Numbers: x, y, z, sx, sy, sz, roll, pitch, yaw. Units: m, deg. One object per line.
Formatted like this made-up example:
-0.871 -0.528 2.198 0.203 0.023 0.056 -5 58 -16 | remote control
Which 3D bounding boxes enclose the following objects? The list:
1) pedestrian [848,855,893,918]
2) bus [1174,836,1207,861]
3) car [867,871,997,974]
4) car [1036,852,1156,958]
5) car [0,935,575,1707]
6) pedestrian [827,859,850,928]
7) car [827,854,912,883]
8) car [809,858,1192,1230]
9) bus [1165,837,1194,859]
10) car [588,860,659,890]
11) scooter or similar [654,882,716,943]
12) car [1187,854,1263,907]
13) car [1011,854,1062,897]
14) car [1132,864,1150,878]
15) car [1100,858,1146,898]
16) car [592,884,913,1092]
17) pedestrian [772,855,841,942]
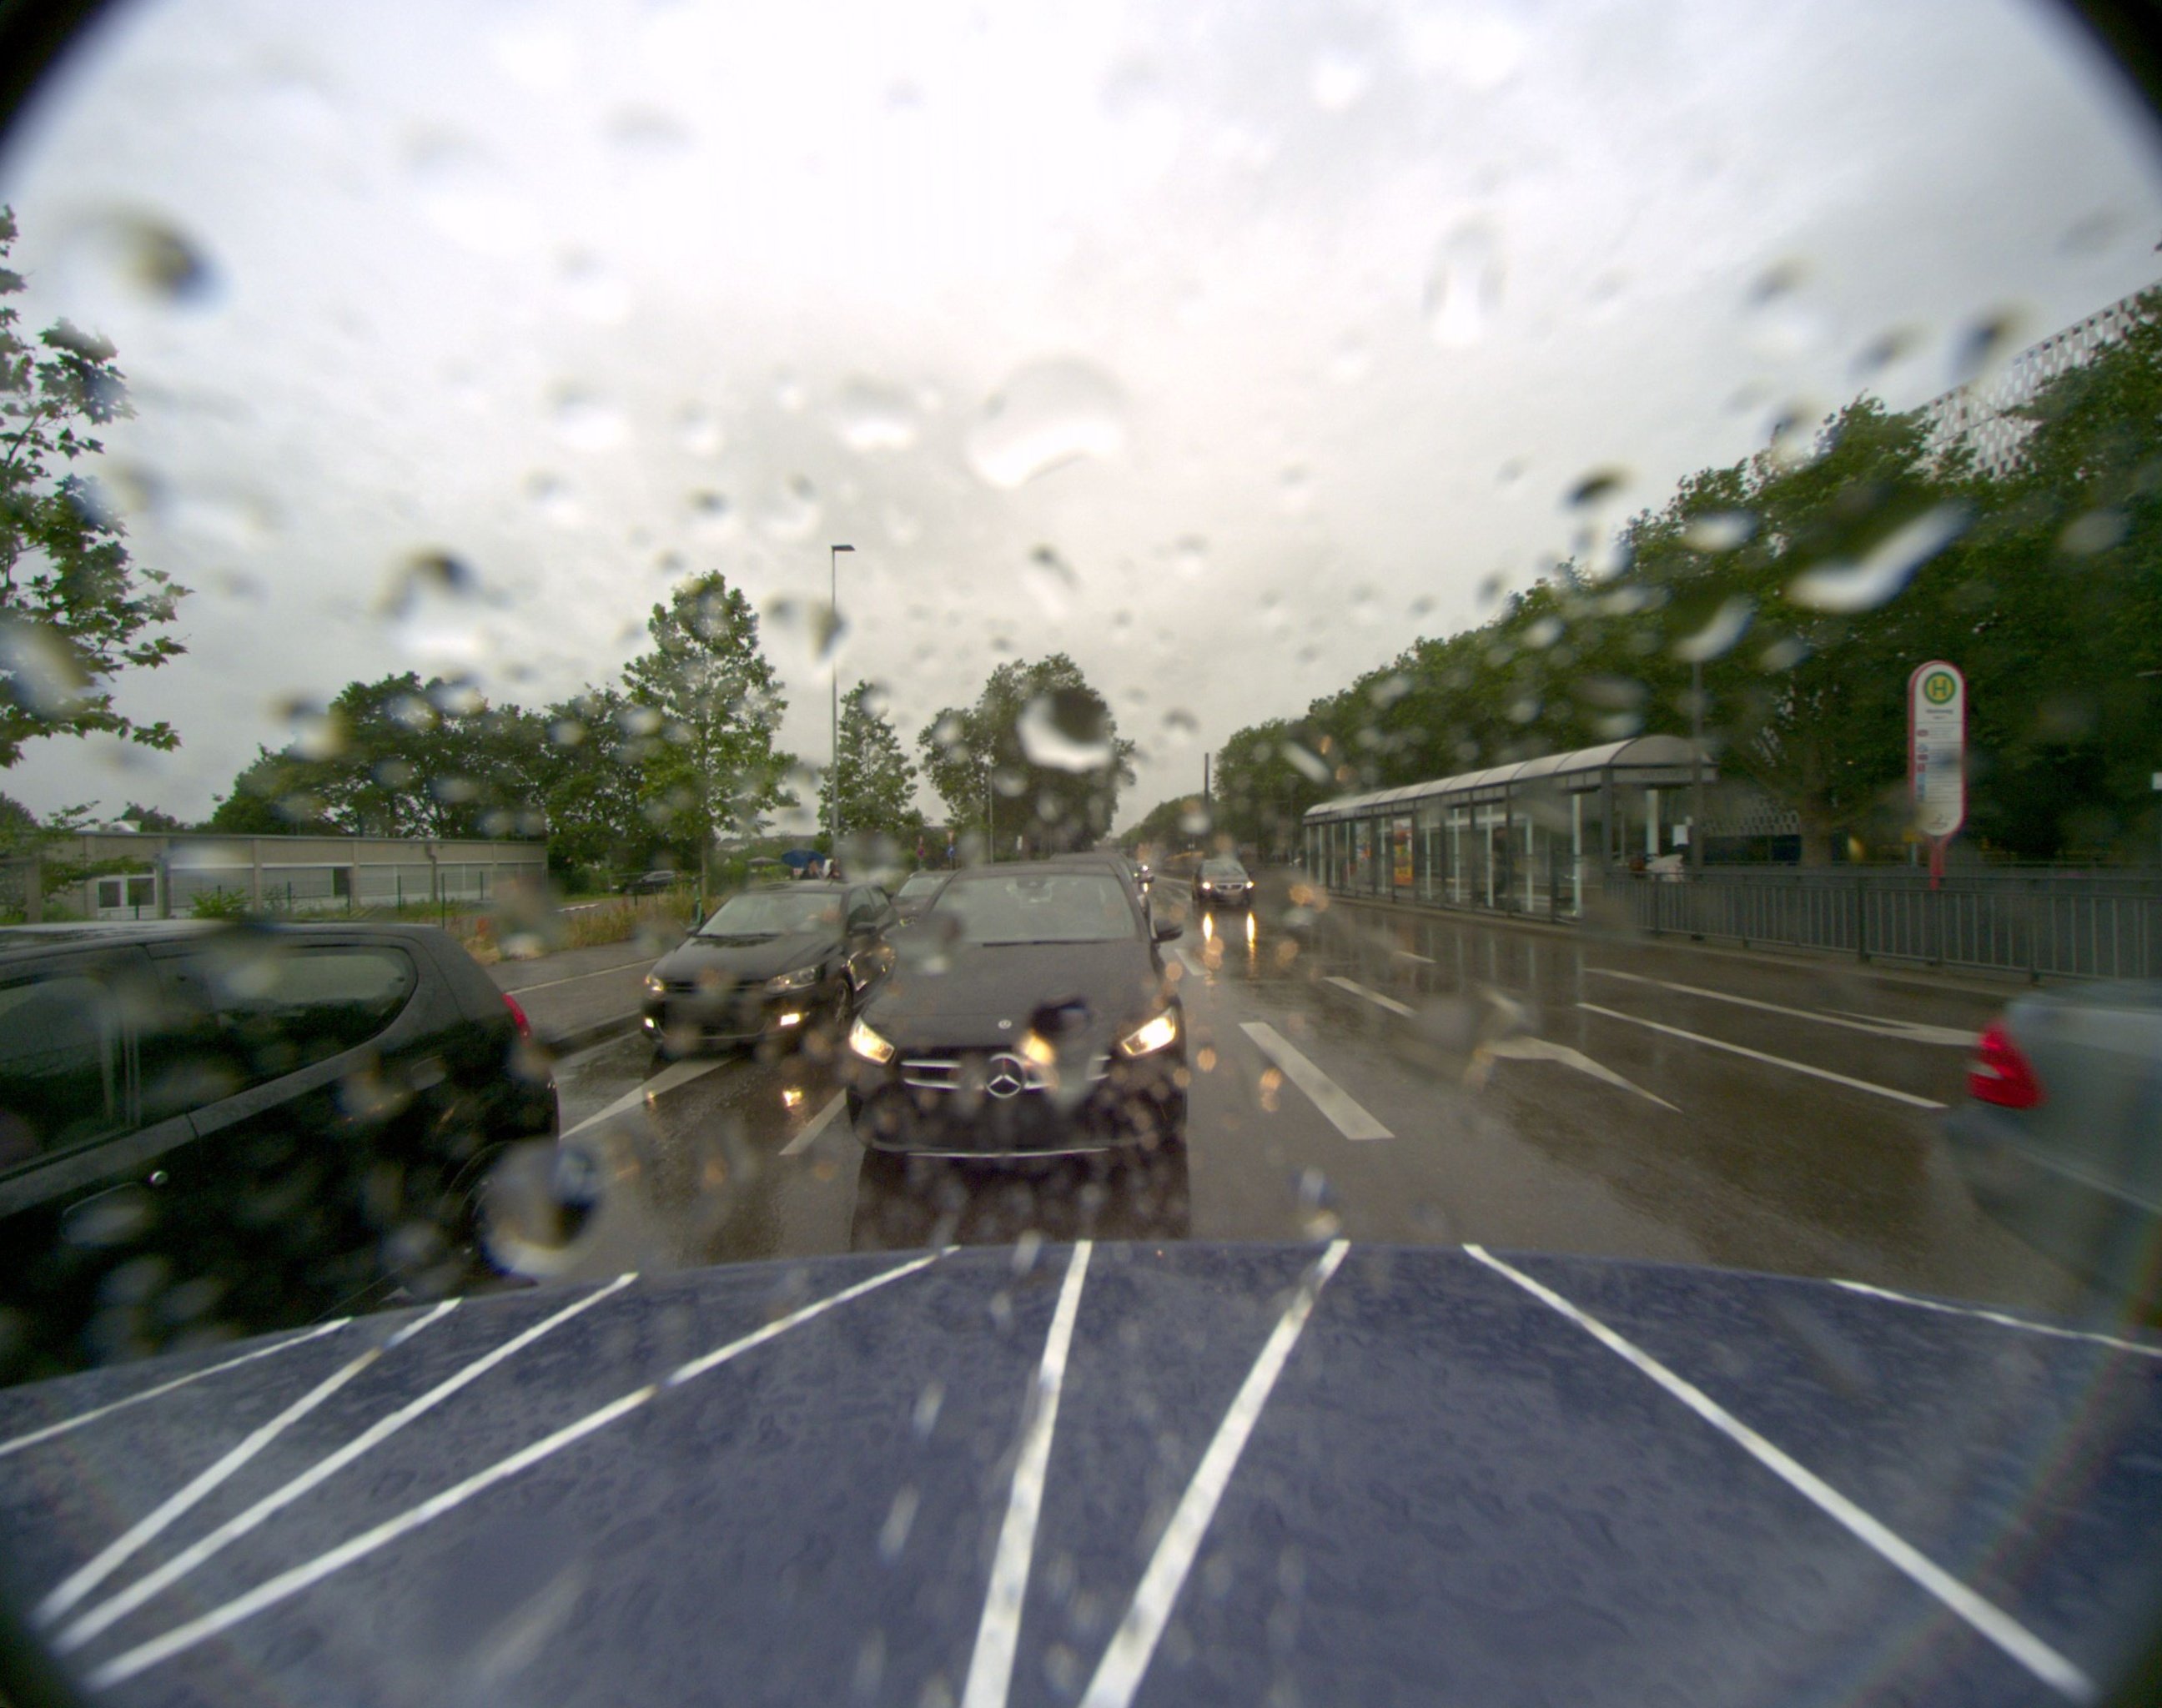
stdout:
-5.934 0.897 21.455 1.025 1.698 0.891 1 1 0 | pedestrian
16.128 -0.845 112.587 2.938 3.310 15.062 -2 1 1 | bus
-2.748 1.215 14.861 1.698 1.565 3.813 -2 1 1 | car
0.201 0.725 12.487 1.633 1.420 3.624 -2 0 0 | car
-3.012 1.082 1.446 1.633 1.420 3.624 -2 0 0 | car
-5.843 0.944 18.307 0.401 1.652 0.441 1 1 0 | pedestrian
-13.354 0.909 48.222 4.759 1.640 1.999 -2 1 -2 | car
-0.337 0.885 5.551 1.690 1.578 4.163 -2 1 1 | car
16.406 -1.052 127.790 2.938 3.310 15.061 -2 1 1 | bus
-33.967 1.514 56.526 3.996 2.002 2.000 -2 1 2 | car
-8.213 1.184 15.816 0.381 1.123 1.777 0 1 -1 | scooter or similar
4.717 0.803 25.446 1.775 1.492 4.597 -2 1 2 | car
-1.659 0.774 29.538 1.703 1.461 4.121 -2 1 0 | car
7.417 2.097 94.354 1.794 1.597 3.999 -2 1 0 | car
1.867 1.046 34.759 1.794 1.597 3.999 -2 1 0 | car
-2.947 1.115 7.704 1.633 1.420 3.624 -2 0 0 | car
-5.729 0.909 15.933 1.082 1.746 0.969 0 1 0 | pedestrian
